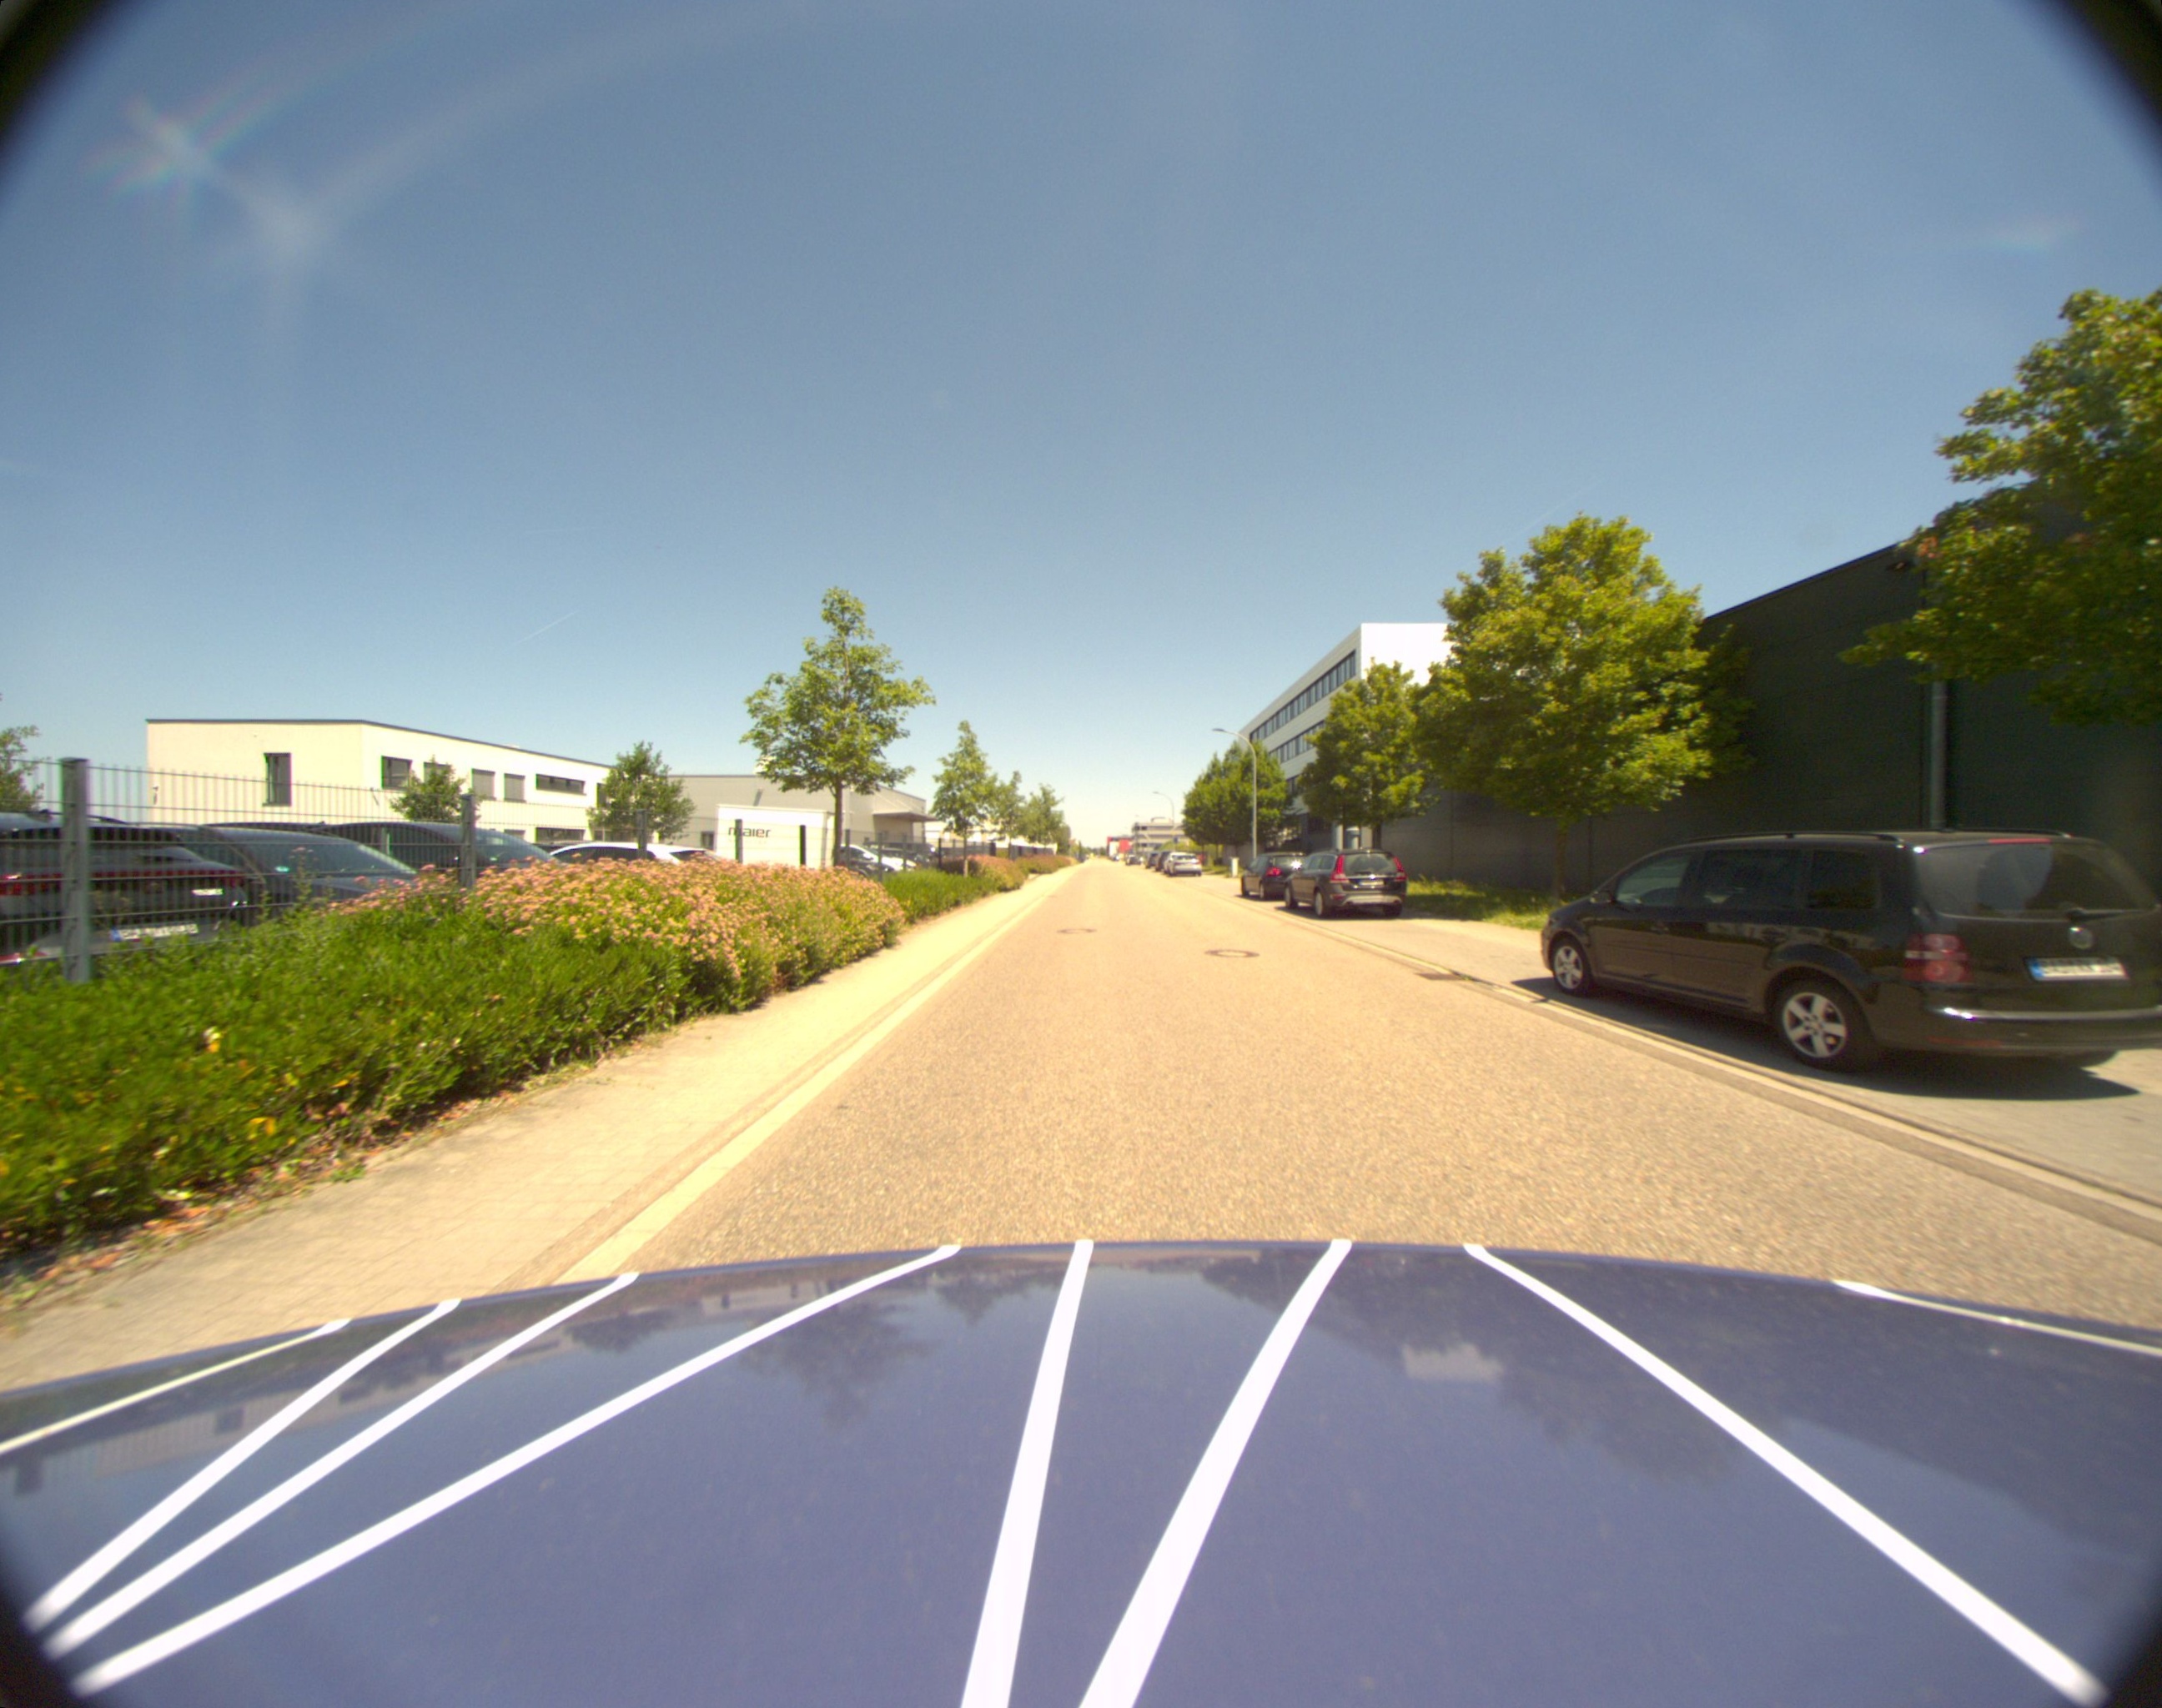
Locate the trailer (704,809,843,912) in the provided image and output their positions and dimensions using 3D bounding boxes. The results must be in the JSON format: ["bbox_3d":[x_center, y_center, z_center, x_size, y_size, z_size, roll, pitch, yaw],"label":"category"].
[{"bbox_3d":[-7.475,0.153,18.651,2.830,2.389,1.419,1,1,-3],"label":"trailer"}]

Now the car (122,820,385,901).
[{"bbox_3d":[-19.211,0.145,17.790,4.051,1.753,1.918,1,1,1],"label":"car"}]

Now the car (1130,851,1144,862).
[{"bbox_3d":[8.211,0.349,112.026,1.678,1.442,4.069,-5,0,1],"label":"car"}]

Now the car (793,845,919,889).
[{"bbox_3d":[-8.032,0.445,27.351,3.997,1.513,1.822,0,1,1],"label":"car"}]

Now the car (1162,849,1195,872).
[{"bbox_3d":[6.701,0.400,52.723,1.775,1.422,4.201,-4,0,1],"label":"car"}]

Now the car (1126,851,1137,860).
[{"bbox_3d":[8.488,0.219,127.611,1.678,1.521,3.909,-1,1,1],"label":"car"}]

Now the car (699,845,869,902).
[{"bbox_3d":[-8.340,0.523,21.604,4.051,1.495,1.918,1,1,1],"label":"car"}]

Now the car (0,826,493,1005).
[{"bbox_3d":[-8.727,0.530,7.691,4.147,1.528,1.808,1,1,0],"label":"car"}]

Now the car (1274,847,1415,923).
[{"bbox_3d":[6.251,0.642,18.664,1.775,1.602,4.851,-1,1,0],"label":"car"}]

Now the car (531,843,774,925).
[{"bbox_3d":[-8.612,0.571,15.515,3.900,1.467,1.806,1,1,1],"label":"car"}]

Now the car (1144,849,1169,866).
[{"bbox_3d":[7.131,0.327,72.243,1.775,1.578,4.481,-1,0,-1],"label":"car"}]

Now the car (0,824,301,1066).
[{"bbox_3d":[-8.853,0.521,5.703,4.147,1.528,1.808,1,1,0],"label":"car"}]

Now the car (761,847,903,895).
[{"bbox_3d":[-8.069,0.527,24.820,4.051,1.482,1.743,1,1,1],"label":"car"}]

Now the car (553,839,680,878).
[{"bbox_3d":[-19.011,0.172,31.246,4.051,1.543,1.918,1,1,1],"label":"car"}]

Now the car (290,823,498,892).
[{"bbox_3d":[-19.038,0.093,21.200,4.051,1.789,1.918,1,1,1],"label":"car"}]

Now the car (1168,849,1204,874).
[{"bbox_3d":[6.536,0.449,47.576,1.775,1.423,3.940,-1,1,1],"label":"car"}]

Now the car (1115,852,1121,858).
[{"bbox_3d":[10.772,0.239,222.842,1.694,1.481,3.660,-2,1,2],"label":"car"}]

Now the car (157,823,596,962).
[{"bbox_3d":[-9.267,0.469,10.270,4.263,1.611,1.808,1,1,0],"label":"car"}]

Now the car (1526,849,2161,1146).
[{"bbox_3d":[5.835,0.782,6.319,1.775,1.602,4.247,-1,1,0],"label":"car"}]

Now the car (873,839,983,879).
[{"bbox_3d":[-7.648,0.227,38.281,5.126,1.863,1.902,1,1,1],"label":"car"}]

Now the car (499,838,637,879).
[{"bbox_3d":[-19.371,0.163,28.814,4.051,1.440,1.776,1,1,1],"label":"car"}]

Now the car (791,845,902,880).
[{"bbox_3d":[-10.143,0.352,33.084,4.290,1.436,1.755,1,1,1],"label":"car"}]

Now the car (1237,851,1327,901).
[{"bbox_3d":[6.399,0.641,24.649,1.775,1.422,4.200,-1,1,0],"label":"car"}]

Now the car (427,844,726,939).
[{"bbox_3d":[-8.432,0.597,12.980,3.850,1.432,1.805,1,1,-2],"label":"car"}]

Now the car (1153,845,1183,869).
[{"bbox_3d":[6.813,0.210,59.605,1.775,1.614,4.582,-5,0,1],"label":"car"}]
